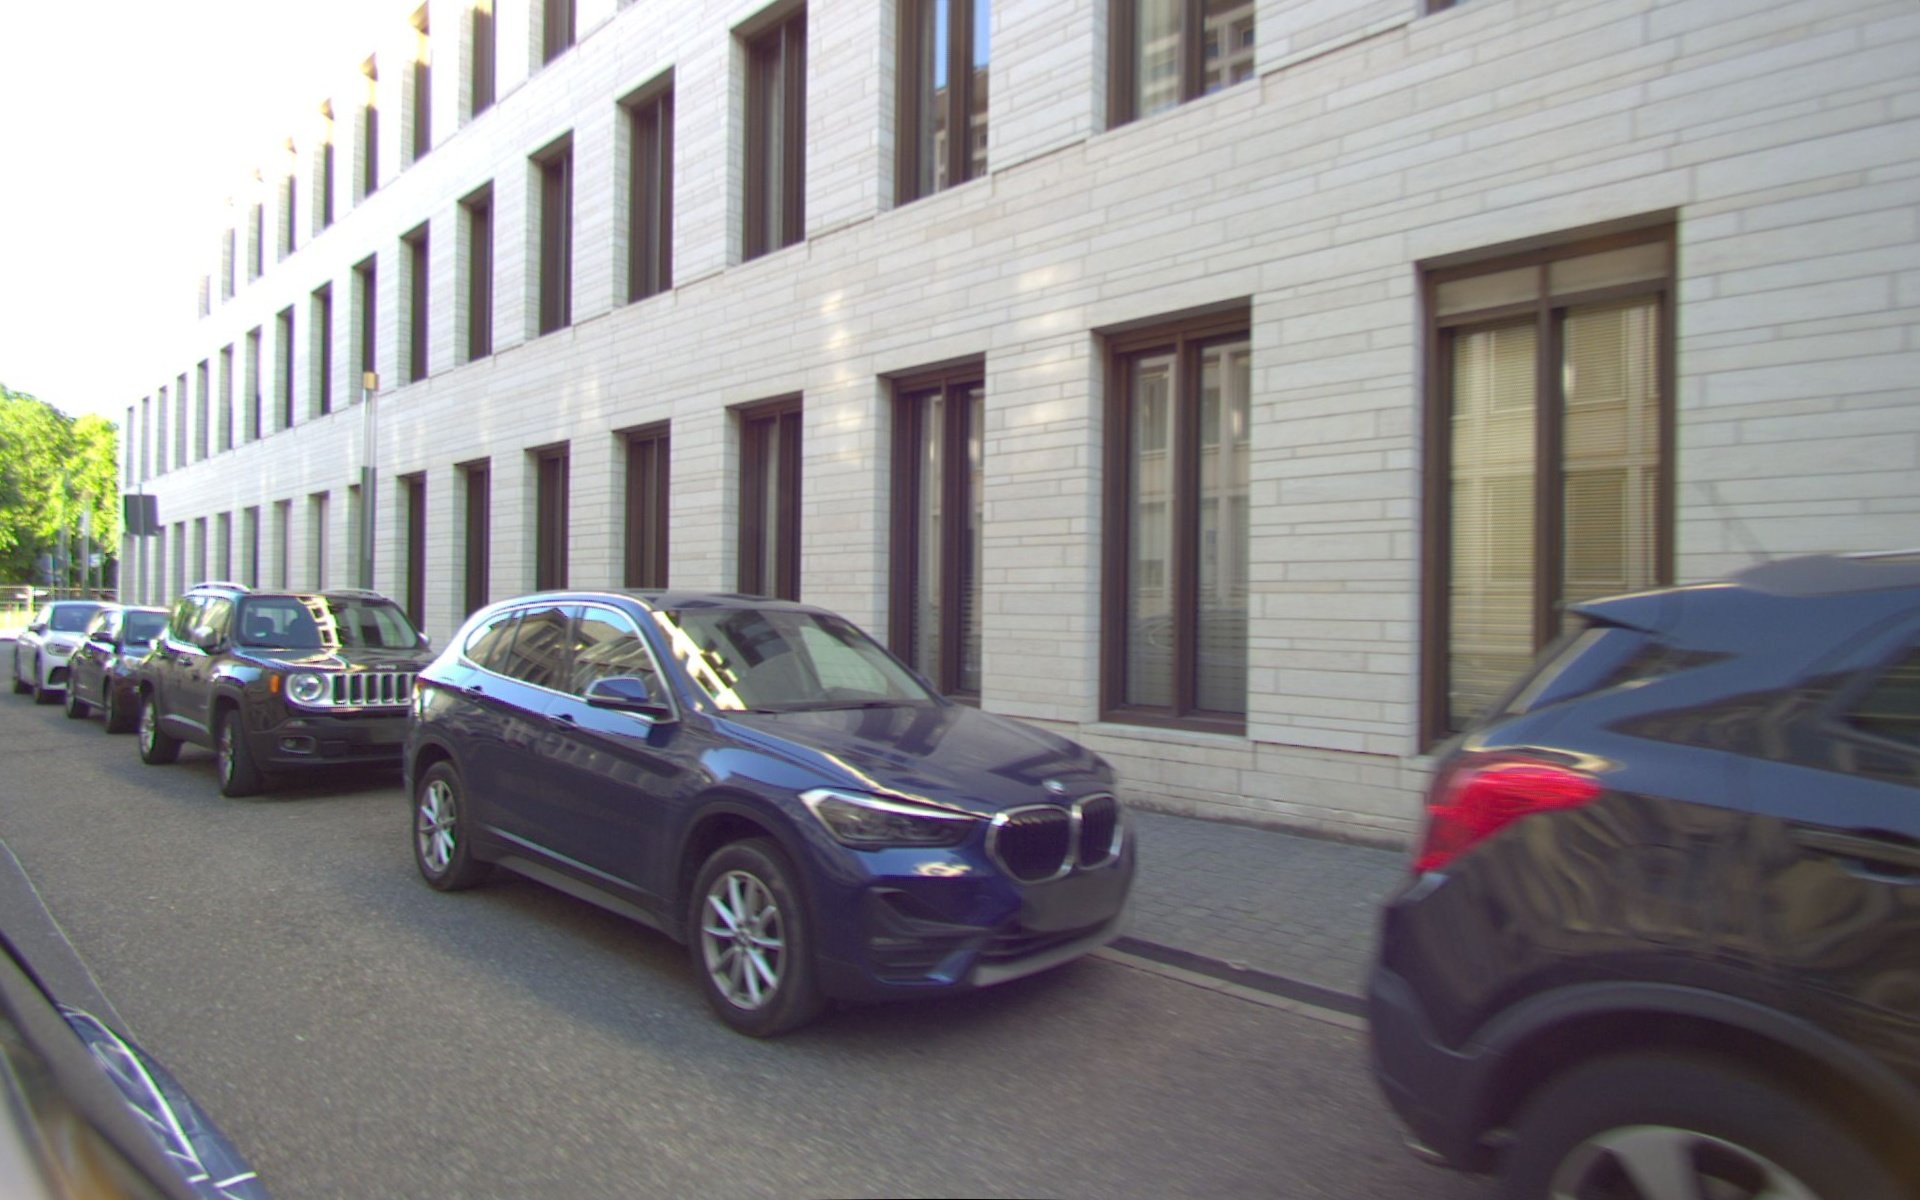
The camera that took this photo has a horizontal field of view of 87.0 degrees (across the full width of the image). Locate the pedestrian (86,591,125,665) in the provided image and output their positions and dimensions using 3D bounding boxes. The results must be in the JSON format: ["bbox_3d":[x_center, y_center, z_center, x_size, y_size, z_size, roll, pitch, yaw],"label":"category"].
[{"bbox_3d":[-21.410,0.686,25.349,0.816,1.803,0.636,1,0,42],"label":"pedestrian"}]

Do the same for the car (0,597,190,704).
[{"bbox_3d":[-14.536,0.788,16.904,4.445,1.553,1.803,-1,-3,42],"label":"car"}]

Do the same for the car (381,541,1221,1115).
[{"bbox_3d":[-1.051,0.698,4.885,4.152,1.607,1.721,-1,-4,41],"label":"car"}]

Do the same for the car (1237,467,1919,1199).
[{"bbox_3d":[2.811,0.672,1.549,4.264,1.690,1.802,-1,-4,43],"label":"car"}]

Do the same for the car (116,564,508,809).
[{"bbox_3d":[-5.966,0.671,9.152,4.014,1.728,1.804,-1,-4,40],"label":"car"}]

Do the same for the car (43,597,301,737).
[{"bbox_3d":[-10.481,0.780,13.354,4.260,1.553,1.804,-1,-1,40],"label":"car"}]
